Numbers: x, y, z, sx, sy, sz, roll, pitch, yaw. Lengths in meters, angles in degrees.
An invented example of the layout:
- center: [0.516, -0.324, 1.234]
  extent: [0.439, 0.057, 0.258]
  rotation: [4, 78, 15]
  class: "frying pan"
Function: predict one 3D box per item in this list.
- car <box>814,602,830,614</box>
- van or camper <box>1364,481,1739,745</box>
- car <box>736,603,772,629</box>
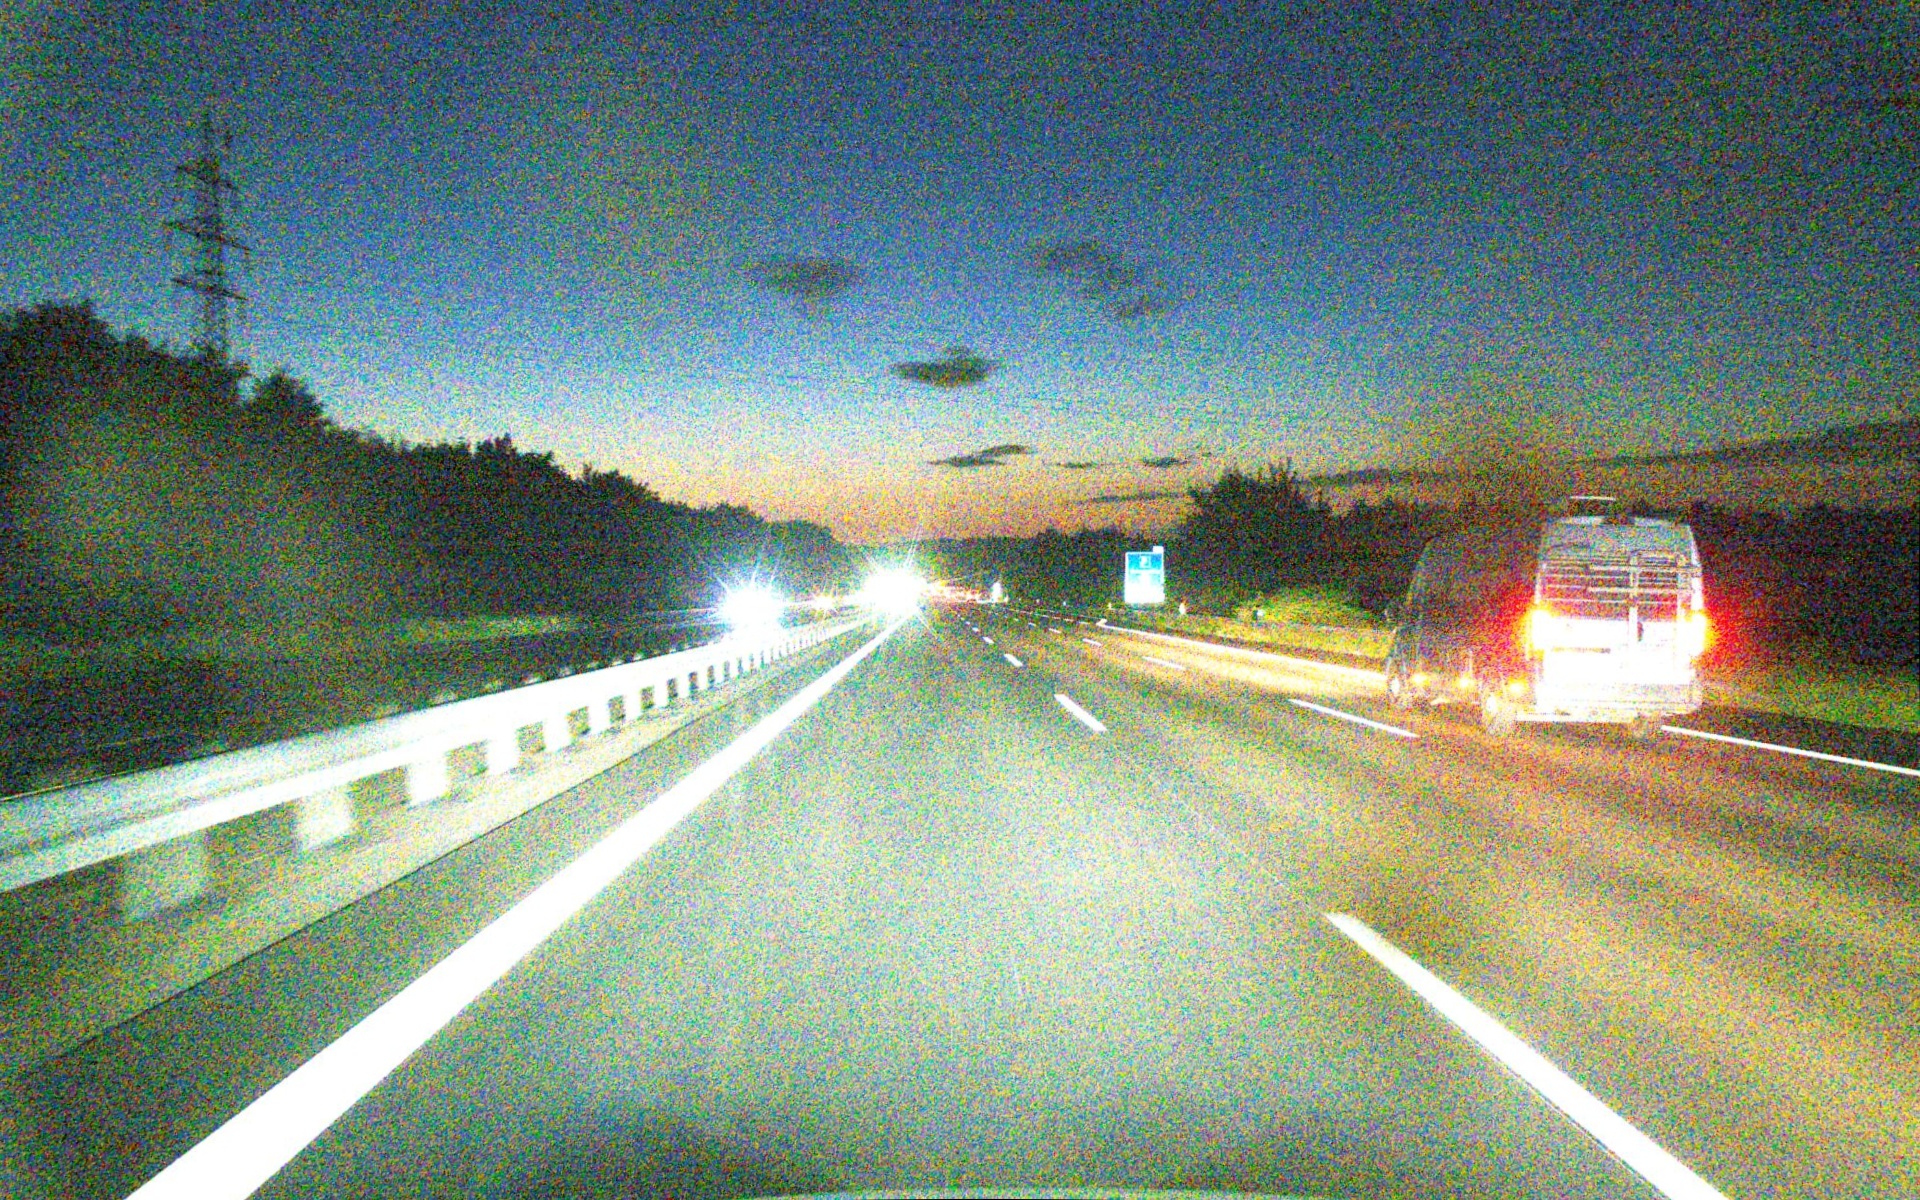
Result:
- center: [-20.737, 1.172, 248.637]
  extent: [1.953, 1.578, 5.003]
  rotation: [-4, 0, -1]
  class: "car"
- center: [7.249, 0.122, 21.329]
  extent: [2.162, 2.820, 6.802]
  rotation: [1, 0, -2]
  class: "van or camper"
- center: [-14.853, 1.148, 119.348]
  extent: [1.954, 1.666, 5.073]
  rotation: [5, -1, -1]
  class: "car"
